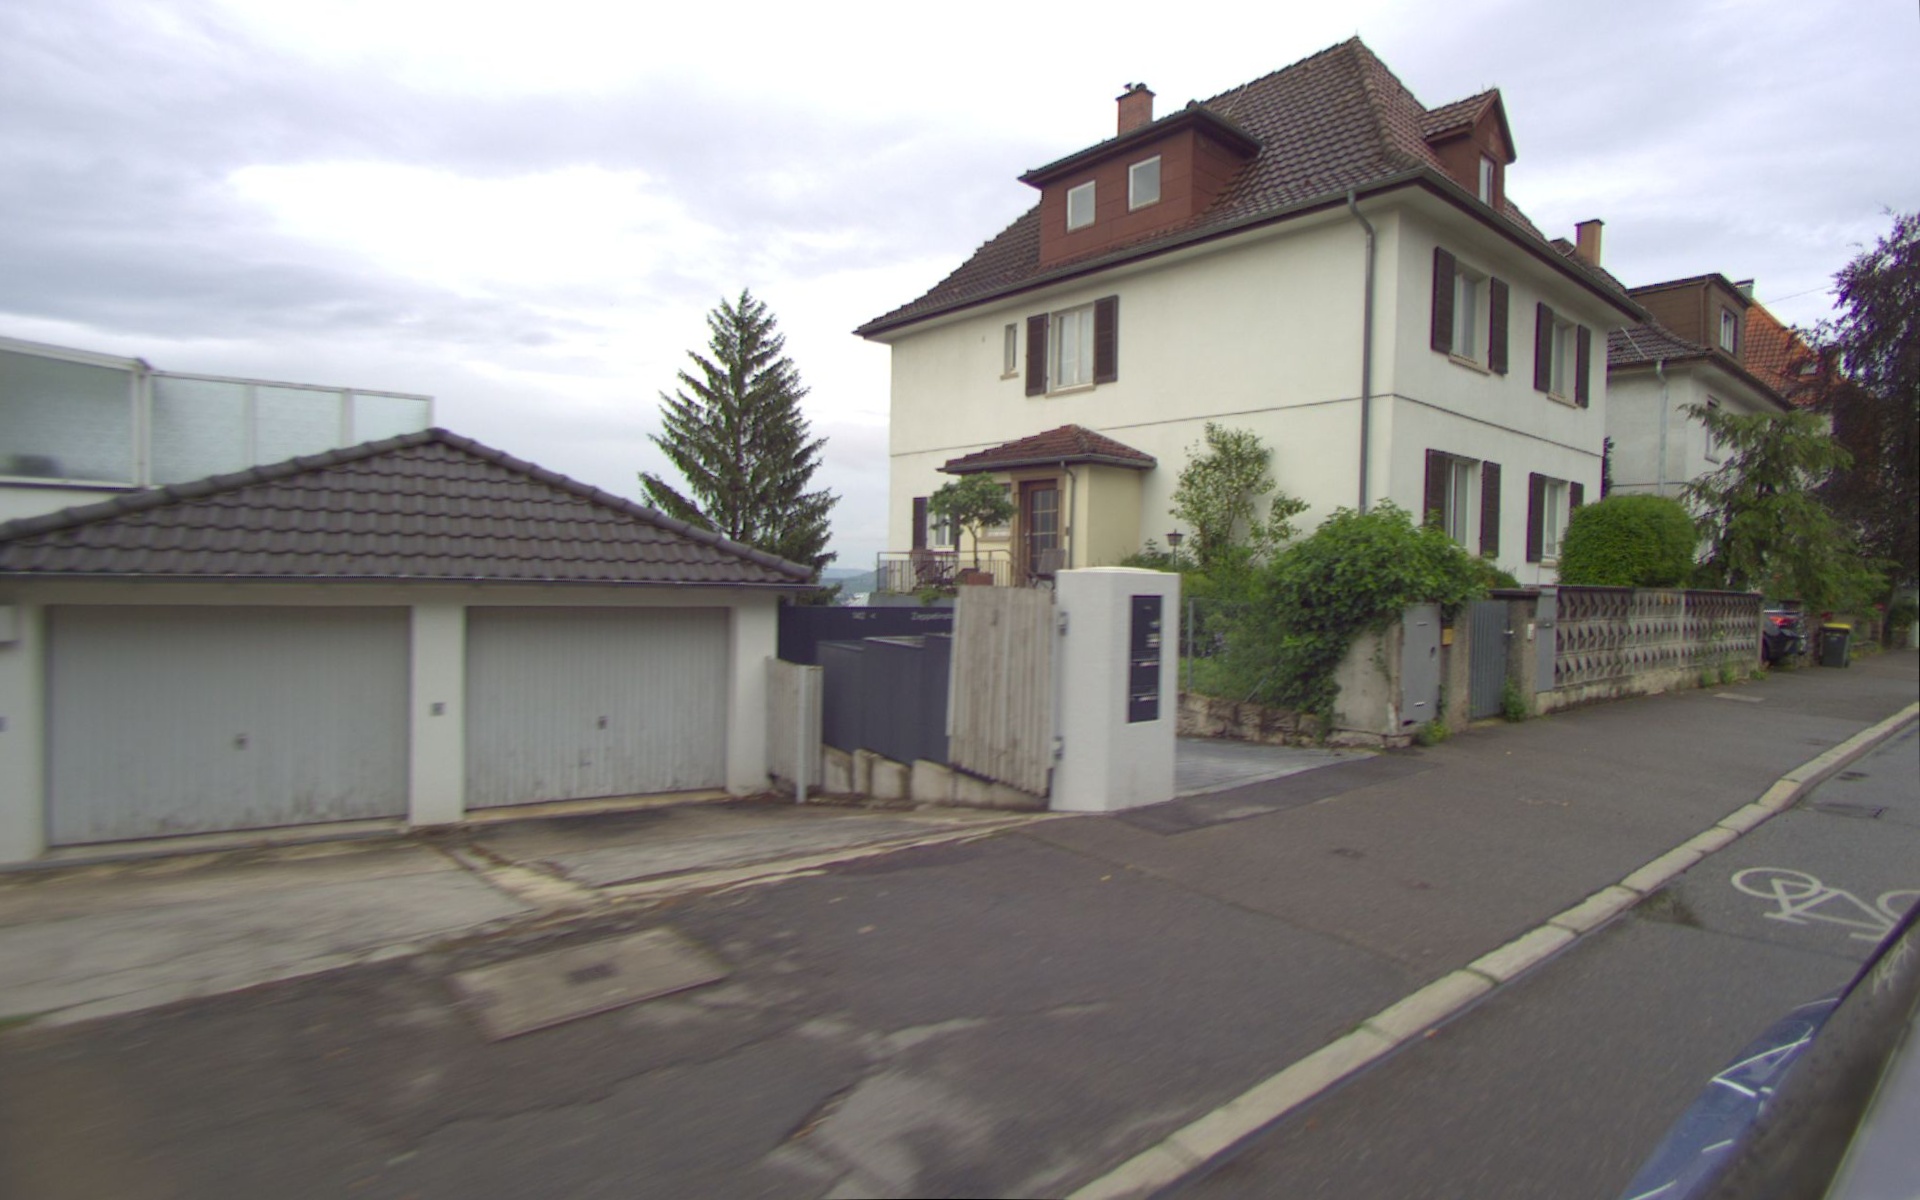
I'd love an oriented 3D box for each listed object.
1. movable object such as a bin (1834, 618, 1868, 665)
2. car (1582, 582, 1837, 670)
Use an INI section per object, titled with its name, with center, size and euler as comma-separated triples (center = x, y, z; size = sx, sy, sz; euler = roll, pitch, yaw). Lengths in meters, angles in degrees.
[movable object such as a bin]
center = 19.014, 0.880, 21.590
size = 0.494, 0.968, 0.494
euler = 3, -2, -43
[car]
center = 15.558, 0.494, 21.161
size = 1.884, 1.661, 3.994
euler = 2, -1, -41
